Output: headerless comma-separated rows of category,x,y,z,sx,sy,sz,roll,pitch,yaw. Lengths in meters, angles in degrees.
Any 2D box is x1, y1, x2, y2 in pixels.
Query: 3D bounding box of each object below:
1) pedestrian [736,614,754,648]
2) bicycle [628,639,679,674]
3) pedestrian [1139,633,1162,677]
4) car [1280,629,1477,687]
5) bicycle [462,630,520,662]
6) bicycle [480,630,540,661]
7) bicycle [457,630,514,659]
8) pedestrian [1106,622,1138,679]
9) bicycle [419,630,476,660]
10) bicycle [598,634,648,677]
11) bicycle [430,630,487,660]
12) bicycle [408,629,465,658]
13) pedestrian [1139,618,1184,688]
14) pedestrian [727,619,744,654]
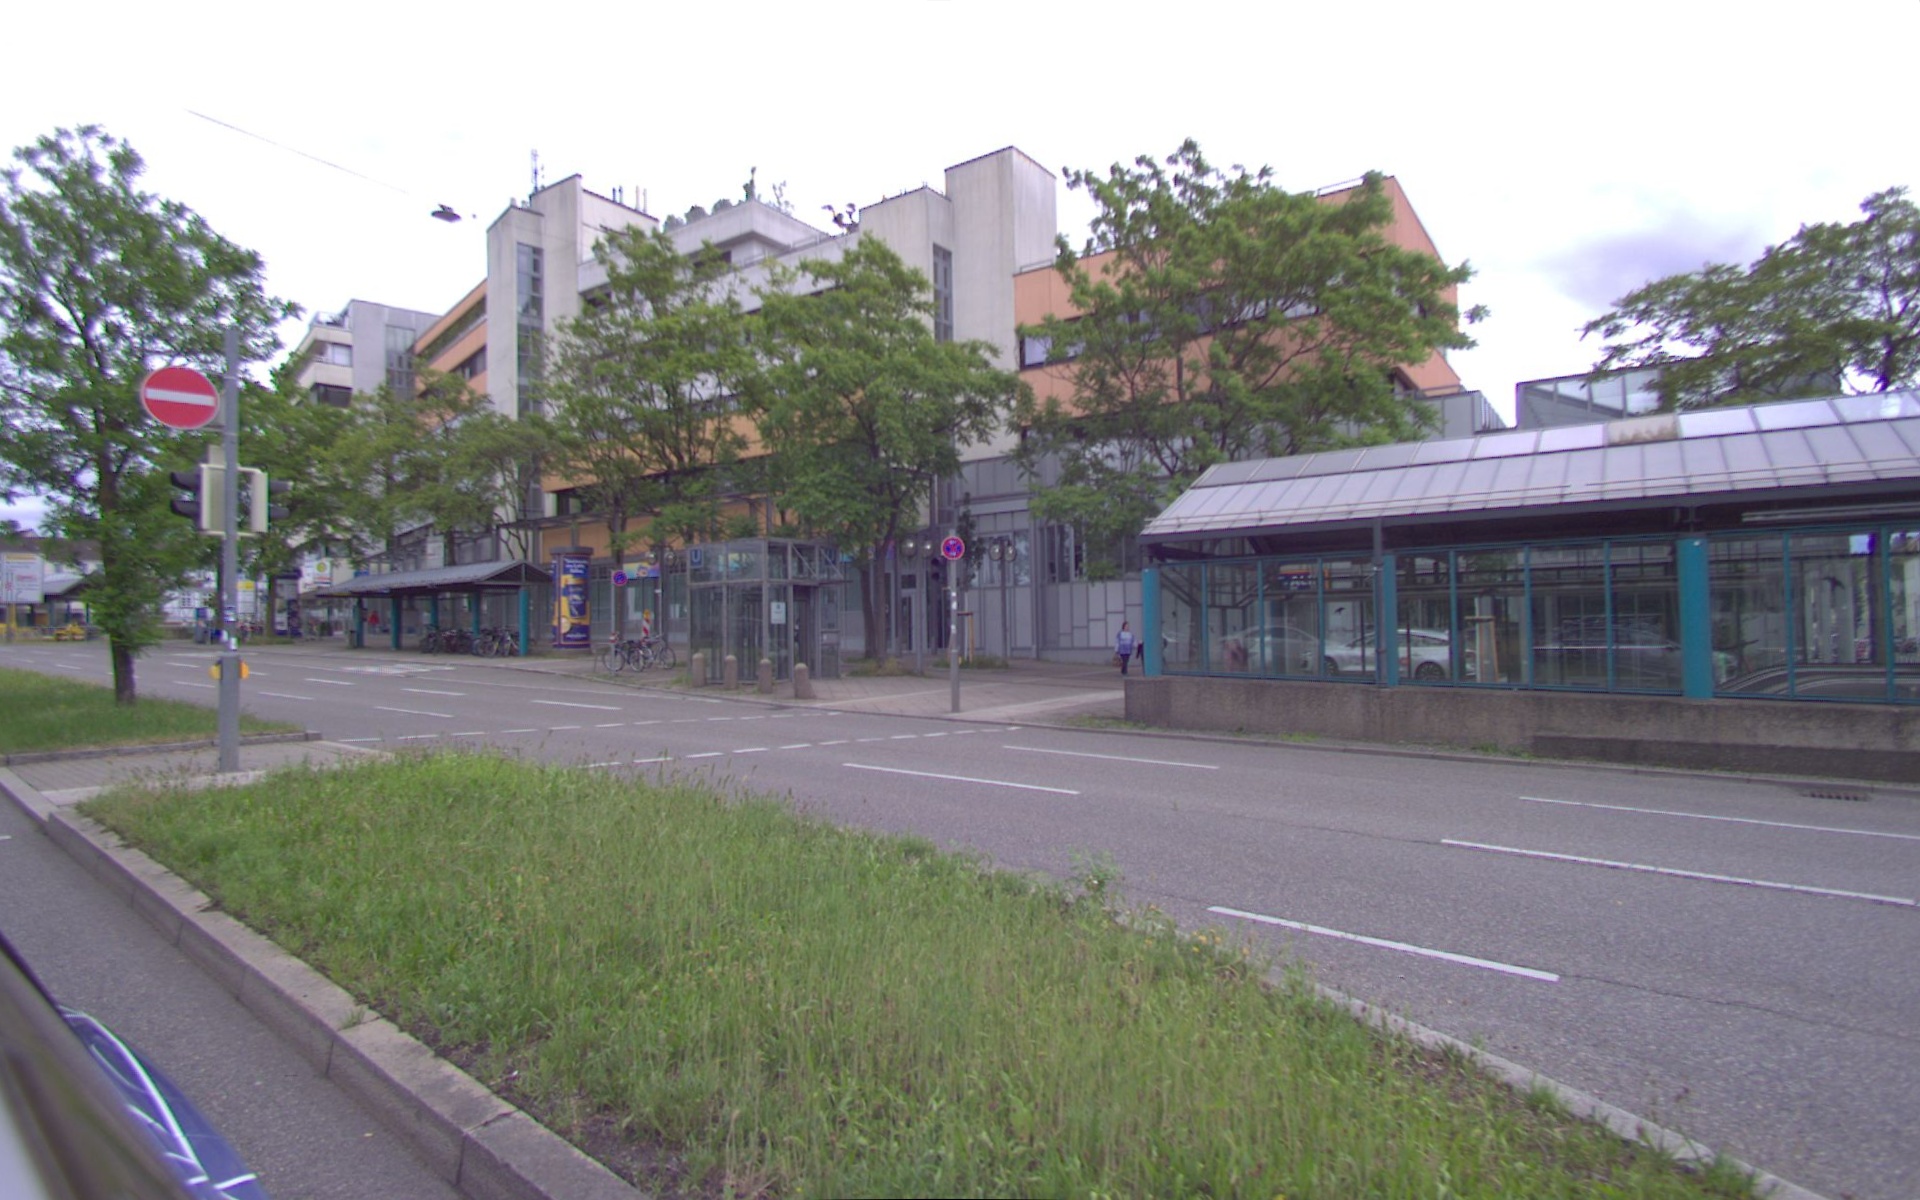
pedestrian,-9.209,1.332,43.337,0.580,1.443,0.456,-1,-2,41
bicycle,-9.580,1.758,31.631,2.049,1.034,0.514,-1,-1,41
pedestrian,5.224,1.510,27.798,0.514,1.201,0.378,-1,-2,42
car,11.325,1.516,27.565,4.714,1.411,1.673,-1,-2,38
bicycle,-18.328,1.789,39.578,0.541,1.147,2.047,-1,0,34
bicycle,-17.402,1.759,39.187,0.541,1.099,2.181,-1,0,34
bicycle,-18.970,1.766,40.500,0.541,1.099,2.047,-1,0,34
pedestrian,4.532,1.402,28.297,0.638,1.558,0.679,-1,-2,39
bicycle,-21.060,1.821,41.605,0.542,1.147,2.043,-1,0,39
bicycle,-10.194,1.669,30.544,1.948,1.234,0.514,-1,-1,41
bicycle,-20.310,1.819,41.005,0.542,1.099,2.043,-1,0,39
bicycle,-21.786,1.800,42.163,0.542,1.099,2.043,-1,0,39
pedestrian,4.982,1.302,25.060,0.827,1.692,0.769,-1,-2,41
pedestrian,-9.473,1.541,42.685,0.580,1.443,0.456,-1,-2,41
